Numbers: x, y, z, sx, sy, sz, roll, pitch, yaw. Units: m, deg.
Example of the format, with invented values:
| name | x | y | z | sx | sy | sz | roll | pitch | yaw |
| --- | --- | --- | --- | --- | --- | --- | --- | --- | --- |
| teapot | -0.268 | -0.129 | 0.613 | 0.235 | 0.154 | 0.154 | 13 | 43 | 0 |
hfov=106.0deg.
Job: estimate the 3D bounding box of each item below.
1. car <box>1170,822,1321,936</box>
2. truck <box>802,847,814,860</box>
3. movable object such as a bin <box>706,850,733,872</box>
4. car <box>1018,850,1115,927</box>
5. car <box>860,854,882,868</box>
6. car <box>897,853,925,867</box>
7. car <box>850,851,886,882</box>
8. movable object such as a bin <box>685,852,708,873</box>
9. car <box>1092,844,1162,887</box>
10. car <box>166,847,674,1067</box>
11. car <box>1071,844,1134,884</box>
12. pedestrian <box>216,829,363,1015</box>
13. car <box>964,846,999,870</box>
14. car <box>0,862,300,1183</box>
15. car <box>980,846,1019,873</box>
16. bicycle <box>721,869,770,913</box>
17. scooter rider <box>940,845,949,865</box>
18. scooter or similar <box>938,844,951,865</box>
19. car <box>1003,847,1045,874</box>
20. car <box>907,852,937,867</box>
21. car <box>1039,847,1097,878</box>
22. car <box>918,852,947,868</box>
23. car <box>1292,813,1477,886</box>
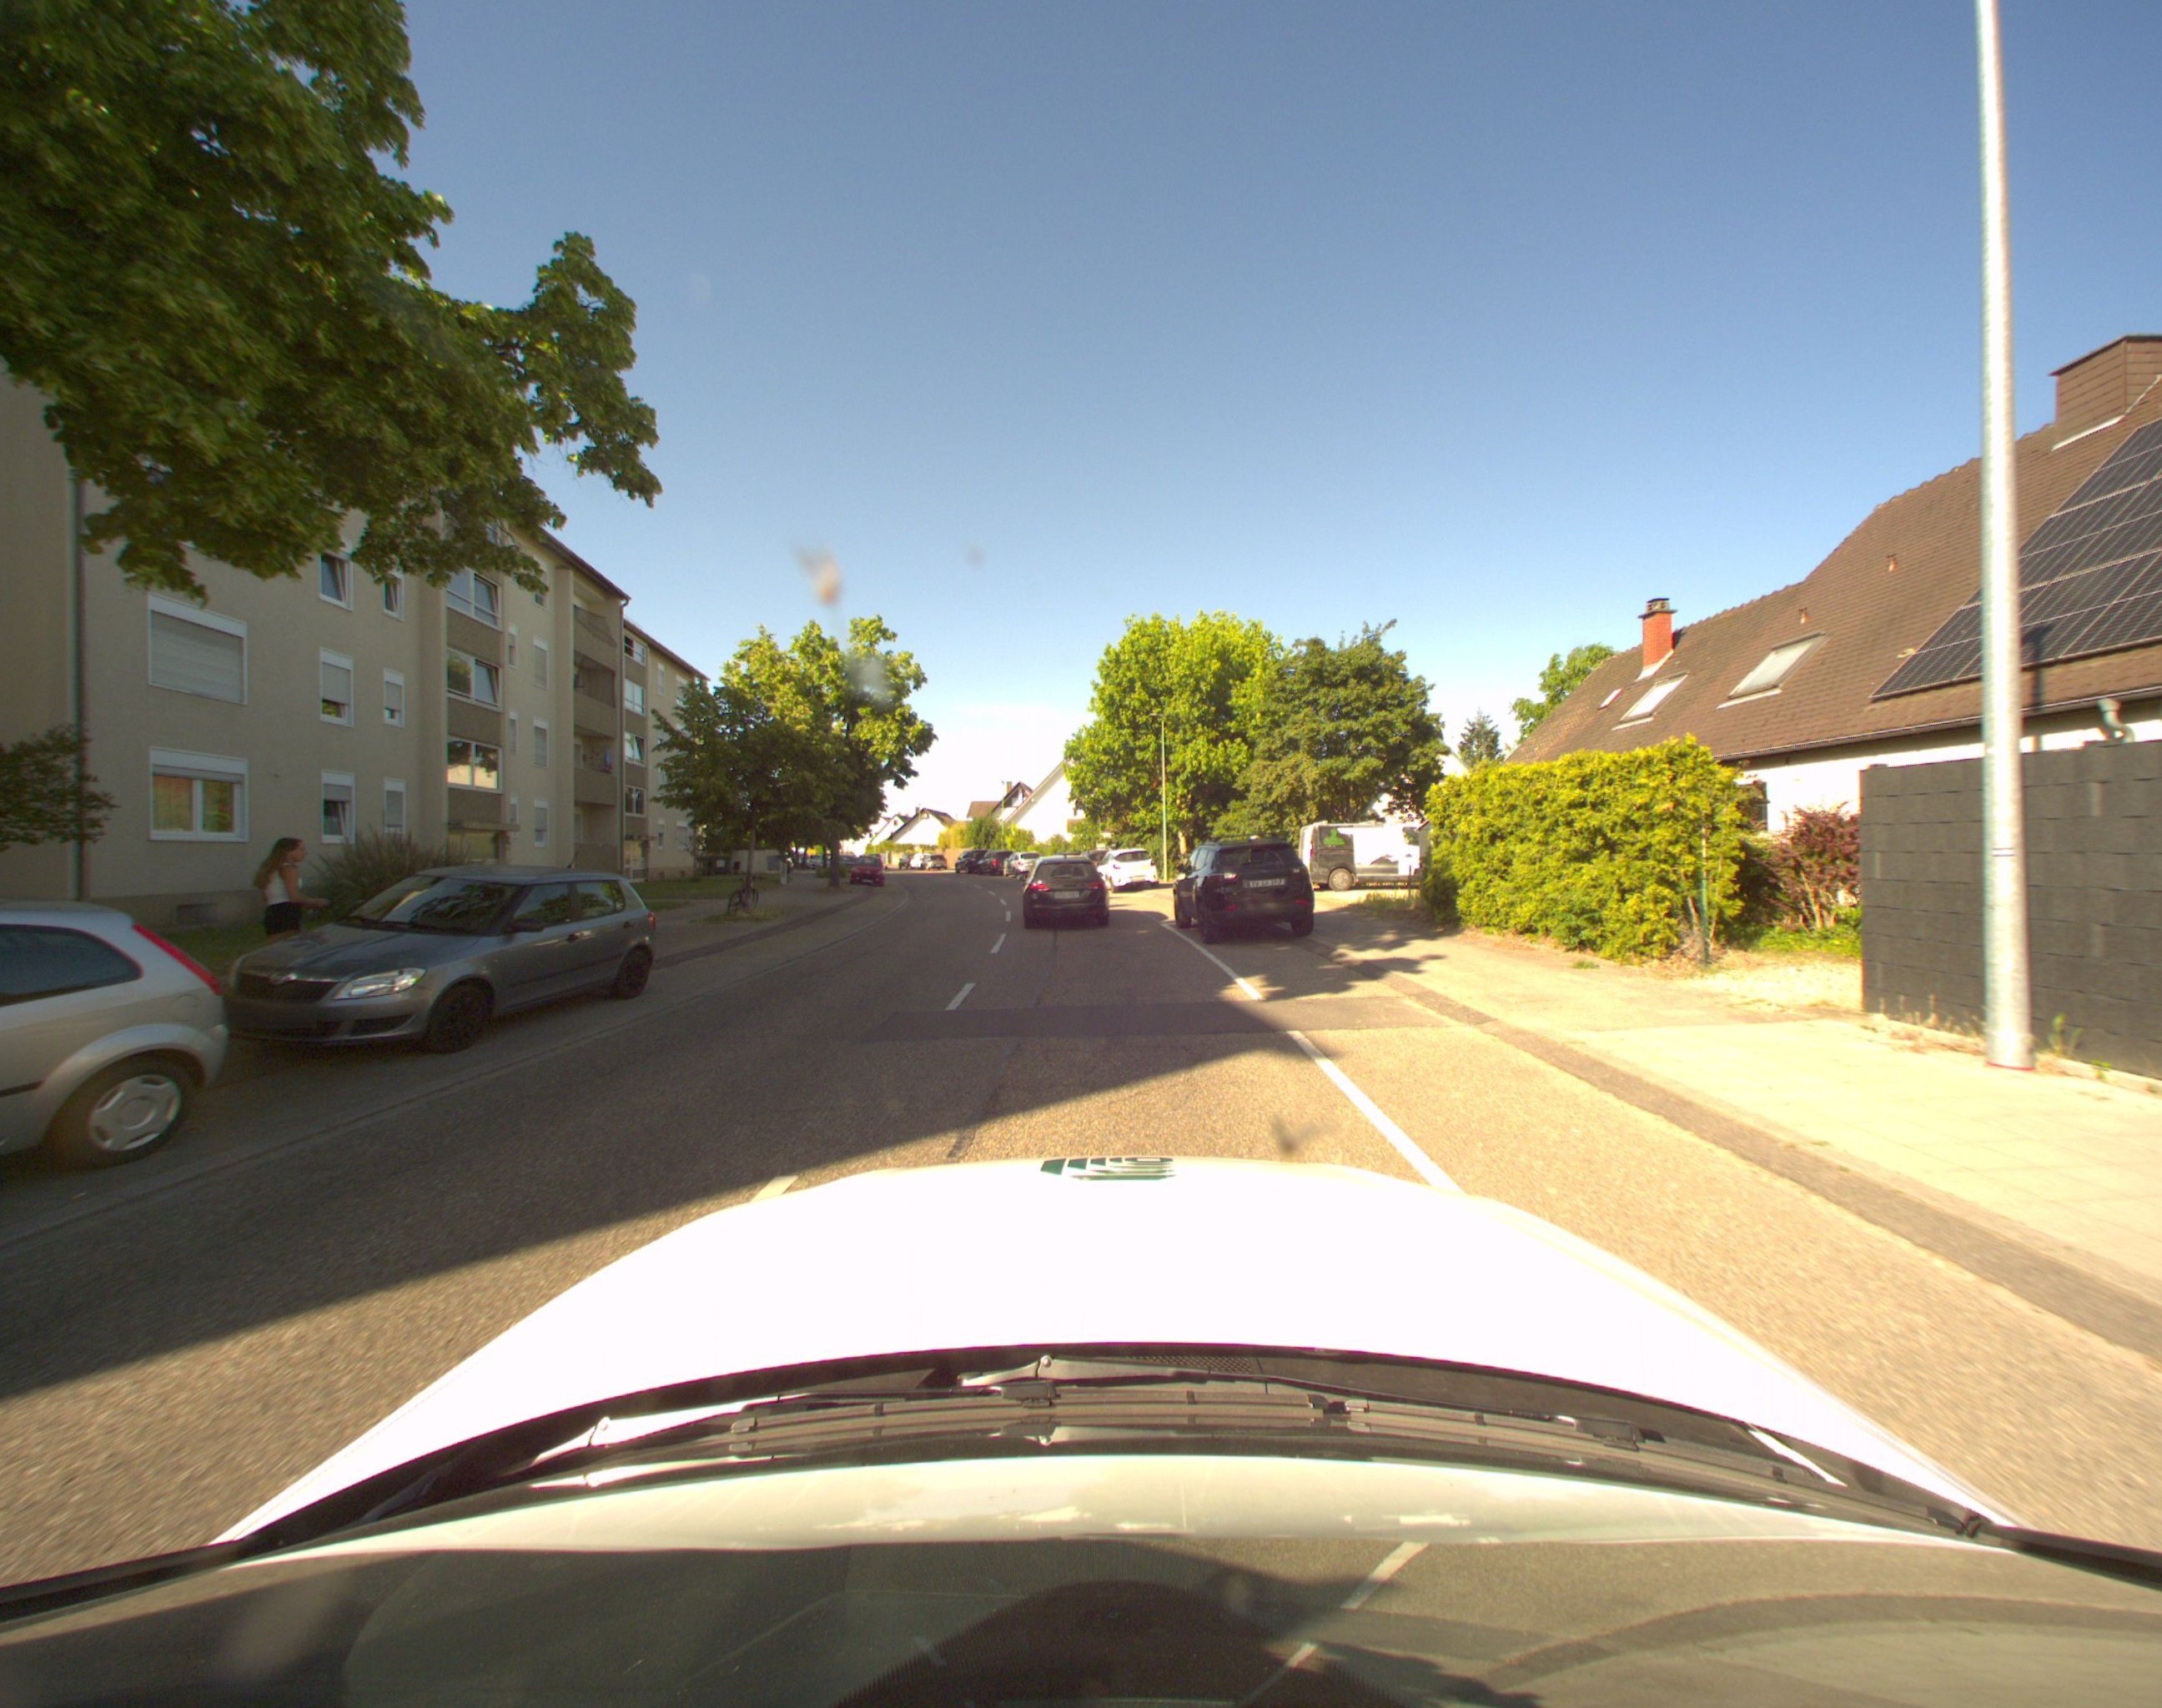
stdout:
| name | x | y | z | sx | sy | sz | roll | pitch | yaw |
| --- | --- | --- | --- | --- | --- | --- | --- | --- | --- |
| car | 2.755 | 0.398 | 14.600 | 1.772 | 1.724 | 4.292 | -1 | 0 | -1 |
| truck | -60.004 | -0.076 | 179.034 | 2.215 | 2.599 | 5.103 | 0 | -2 | -23 |
| movable object such as a bin | -24.128 | 0.500 | 54.380 | 1.520 | 1.427 | 1.082 | 0 | -2 | -14 |
| car | -0.438 | 0.697 | 18.035 | 1.760 | 1.491 | 4.281 | 1 | -1 | -6 |
| car | -26.262 | 0.872 | 101.845 | 2.015 | 1.724 | 4.260 | -1 | -1 | -24 |
| car | -17.224 | 0.629 | 82.339 | 1.925 | 1.407 | 4.258 | -1 | -1 | -25 |
| car | -11.089 | 0.635 | 42.415 | 1.691 | 1.491 | 4.269 | 1 | -1 | -15 |
| movable object such as a bin | -25.492 | 0.561 | 54.025 | 1.174 | 1.321 | 1.082 | 0 | -2 | -14 |
| car | 1.634 | 0.426 | 30.398 | 1.760 | 1.480 | 4.280 | -1 | 0 | -9 |
| car | -5.914 | 0.747 | 8.023 | 1.561 | 1.530 | 3.922 | 4 | 1 | 3 |
| car | 0.841 | 0.417 | 34.942 | 1.911 | 1.600 | 4.279 | -1 | 0 | -10 |
| pedestrian | -7.704 | 0.644 | 7.959 | 0.683 | 1.718 | 0.721 | -1 | -2 | 1 |
| car | -7.337 | 0.294 | 59.882 | 1.907 | 1.666 | 4.168 | -1 | -1 | -16 |
| car | -6.040 | 0.814 | 3.330 | 1.650 | 1.510 | 4.004 | 0 | 0 | 4 |
| car | -5.479 | 0.352 | 54.355 | 2.009 | 1.724 | 4.273 | -1 | -1 | -14 |
| bicycle | -8.133 | 0.885 | 19.814 | 0.366 | 0.969 | 1.885 | -1 | 0 | 2 |
| scooter rider | -13.696 | 0.126 | 81.648 | 0.688 | 2.014 | 0.813 | 0 | -2 | -23 |
| scooter or similar | -13.693 | 0.046 | 81.635 | 0.688 | 2.014 | 2.939 | 0 | -2 | -22 |
| car | -3.484 | 0.403 | 49.278 | 1.823 | 1.534 | 4.238 | -1 | 0 | -14 |
| car | -15.257 | 0.563 | 77.937 | 1.925 | 1.407 | 4.258 | -1 | -1 | -25 |
| car | -0.728 | 0.435 | 40.994 | 2.008 | 1.475 | 4.274 | -1 | 0 | -14 |
| car | -13.171 | 0.545 | 72.155 | 1.922 | 1.407 | 4.267 | -1 | -1 | -19 |
| car | 8.769 | -0.112 | 23.881 | 4.662 | 1.984 | 2.144 | -1 | -1 | 2 |
